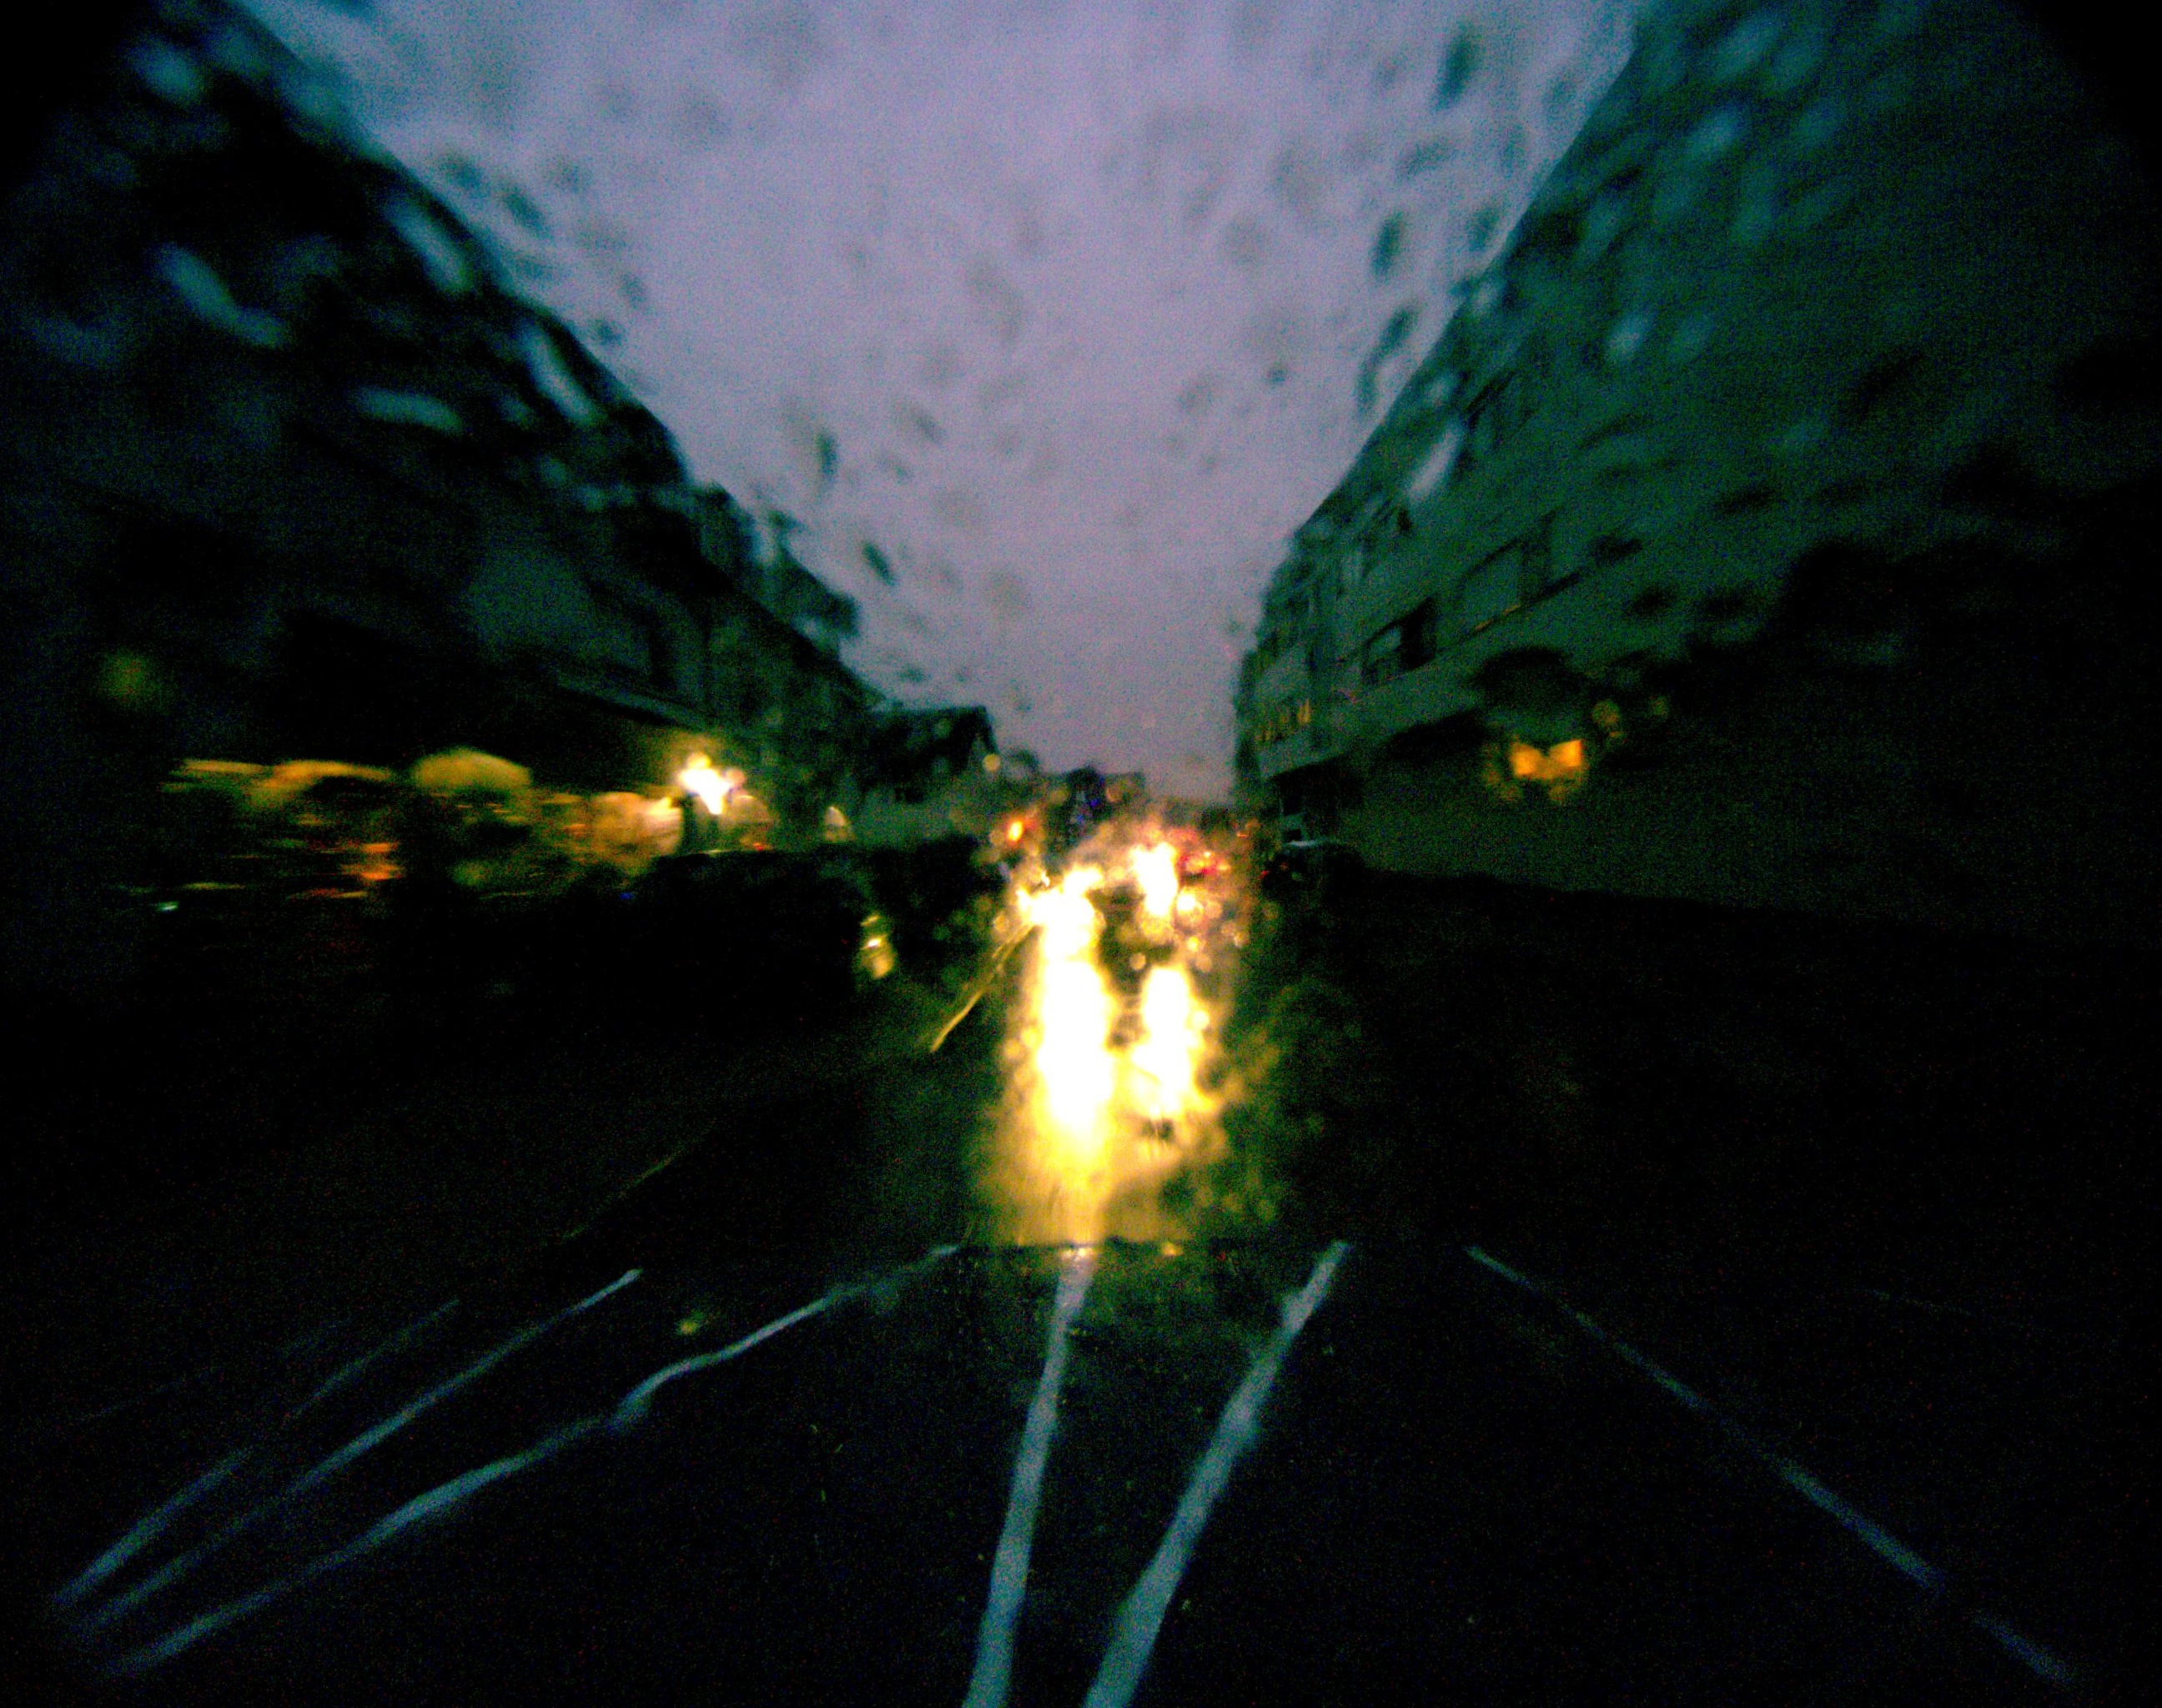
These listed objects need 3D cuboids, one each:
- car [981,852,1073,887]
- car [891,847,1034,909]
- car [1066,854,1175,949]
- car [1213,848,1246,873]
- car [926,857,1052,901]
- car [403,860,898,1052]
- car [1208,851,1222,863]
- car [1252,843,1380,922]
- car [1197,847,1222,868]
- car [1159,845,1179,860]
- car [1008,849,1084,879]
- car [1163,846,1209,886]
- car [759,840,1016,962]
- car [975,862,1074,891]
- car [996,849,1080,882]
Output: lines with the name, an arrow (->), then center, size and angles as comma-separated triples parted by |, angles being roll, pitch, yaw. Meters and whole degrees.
car -> -2.319, 0.664, 33.160 | 3.887, 1.487, 1.551 | 0, 0, 1
car -> -3.402, 0.666, 22.329 | 3.887, 1.722, 1.714 | 0, 0, 1
car -> 0.798, 0.781, 14.307 | 1.731, 1.475, 3.605 | -2, 0, 5
car -> 9.303, 0.371, 47.823 | 1.777, 1.441, 3.829 | -2, 0, 7
car -> -2.938, 0.793, 24.846 | 3.887, 1.359, 1.551 | 0, 0, 1
car -> -3.873, 0.881, 7.368 | 3.852, 1.618, 1.611 | 0, 0, -3
car -> 17.311, 0.412, 98.028 | 1.495, 1.455, 3.128 | 0, 1, 15
car -> 5.387, 0.588, 17.943 | 1.899, 1.607, 3.827 | -2, 0, 2
car -> 9.830, 0.243, 58.360 | 1.777, 1.441, 3.829 | -2, 0, 9
car -> 10.544, -0.192, 91.116 | 1.921, 1.608, 3.871 | -2, 0, 12
car -> -1.795, 0.501, 39.654 | 3.888, 1.487, 1.551 | 0, 0, 0
car -> 4.758, 0.504, 34.831 | 1.892, 1.670, 4.001 | -2, 0, 6
car -> -3.068, 0.721, 12.783 | 3.889, 1.866, 1.868 | 0, 0, -4
car -> -2.271, 0.907, 31.162 | 3.887, 1.121, 1.551 | 0, 0, 1
car -> -1.987, 0.523, 35.928 | 3.888, 1.487, 1.551 | 0, 0, 0
